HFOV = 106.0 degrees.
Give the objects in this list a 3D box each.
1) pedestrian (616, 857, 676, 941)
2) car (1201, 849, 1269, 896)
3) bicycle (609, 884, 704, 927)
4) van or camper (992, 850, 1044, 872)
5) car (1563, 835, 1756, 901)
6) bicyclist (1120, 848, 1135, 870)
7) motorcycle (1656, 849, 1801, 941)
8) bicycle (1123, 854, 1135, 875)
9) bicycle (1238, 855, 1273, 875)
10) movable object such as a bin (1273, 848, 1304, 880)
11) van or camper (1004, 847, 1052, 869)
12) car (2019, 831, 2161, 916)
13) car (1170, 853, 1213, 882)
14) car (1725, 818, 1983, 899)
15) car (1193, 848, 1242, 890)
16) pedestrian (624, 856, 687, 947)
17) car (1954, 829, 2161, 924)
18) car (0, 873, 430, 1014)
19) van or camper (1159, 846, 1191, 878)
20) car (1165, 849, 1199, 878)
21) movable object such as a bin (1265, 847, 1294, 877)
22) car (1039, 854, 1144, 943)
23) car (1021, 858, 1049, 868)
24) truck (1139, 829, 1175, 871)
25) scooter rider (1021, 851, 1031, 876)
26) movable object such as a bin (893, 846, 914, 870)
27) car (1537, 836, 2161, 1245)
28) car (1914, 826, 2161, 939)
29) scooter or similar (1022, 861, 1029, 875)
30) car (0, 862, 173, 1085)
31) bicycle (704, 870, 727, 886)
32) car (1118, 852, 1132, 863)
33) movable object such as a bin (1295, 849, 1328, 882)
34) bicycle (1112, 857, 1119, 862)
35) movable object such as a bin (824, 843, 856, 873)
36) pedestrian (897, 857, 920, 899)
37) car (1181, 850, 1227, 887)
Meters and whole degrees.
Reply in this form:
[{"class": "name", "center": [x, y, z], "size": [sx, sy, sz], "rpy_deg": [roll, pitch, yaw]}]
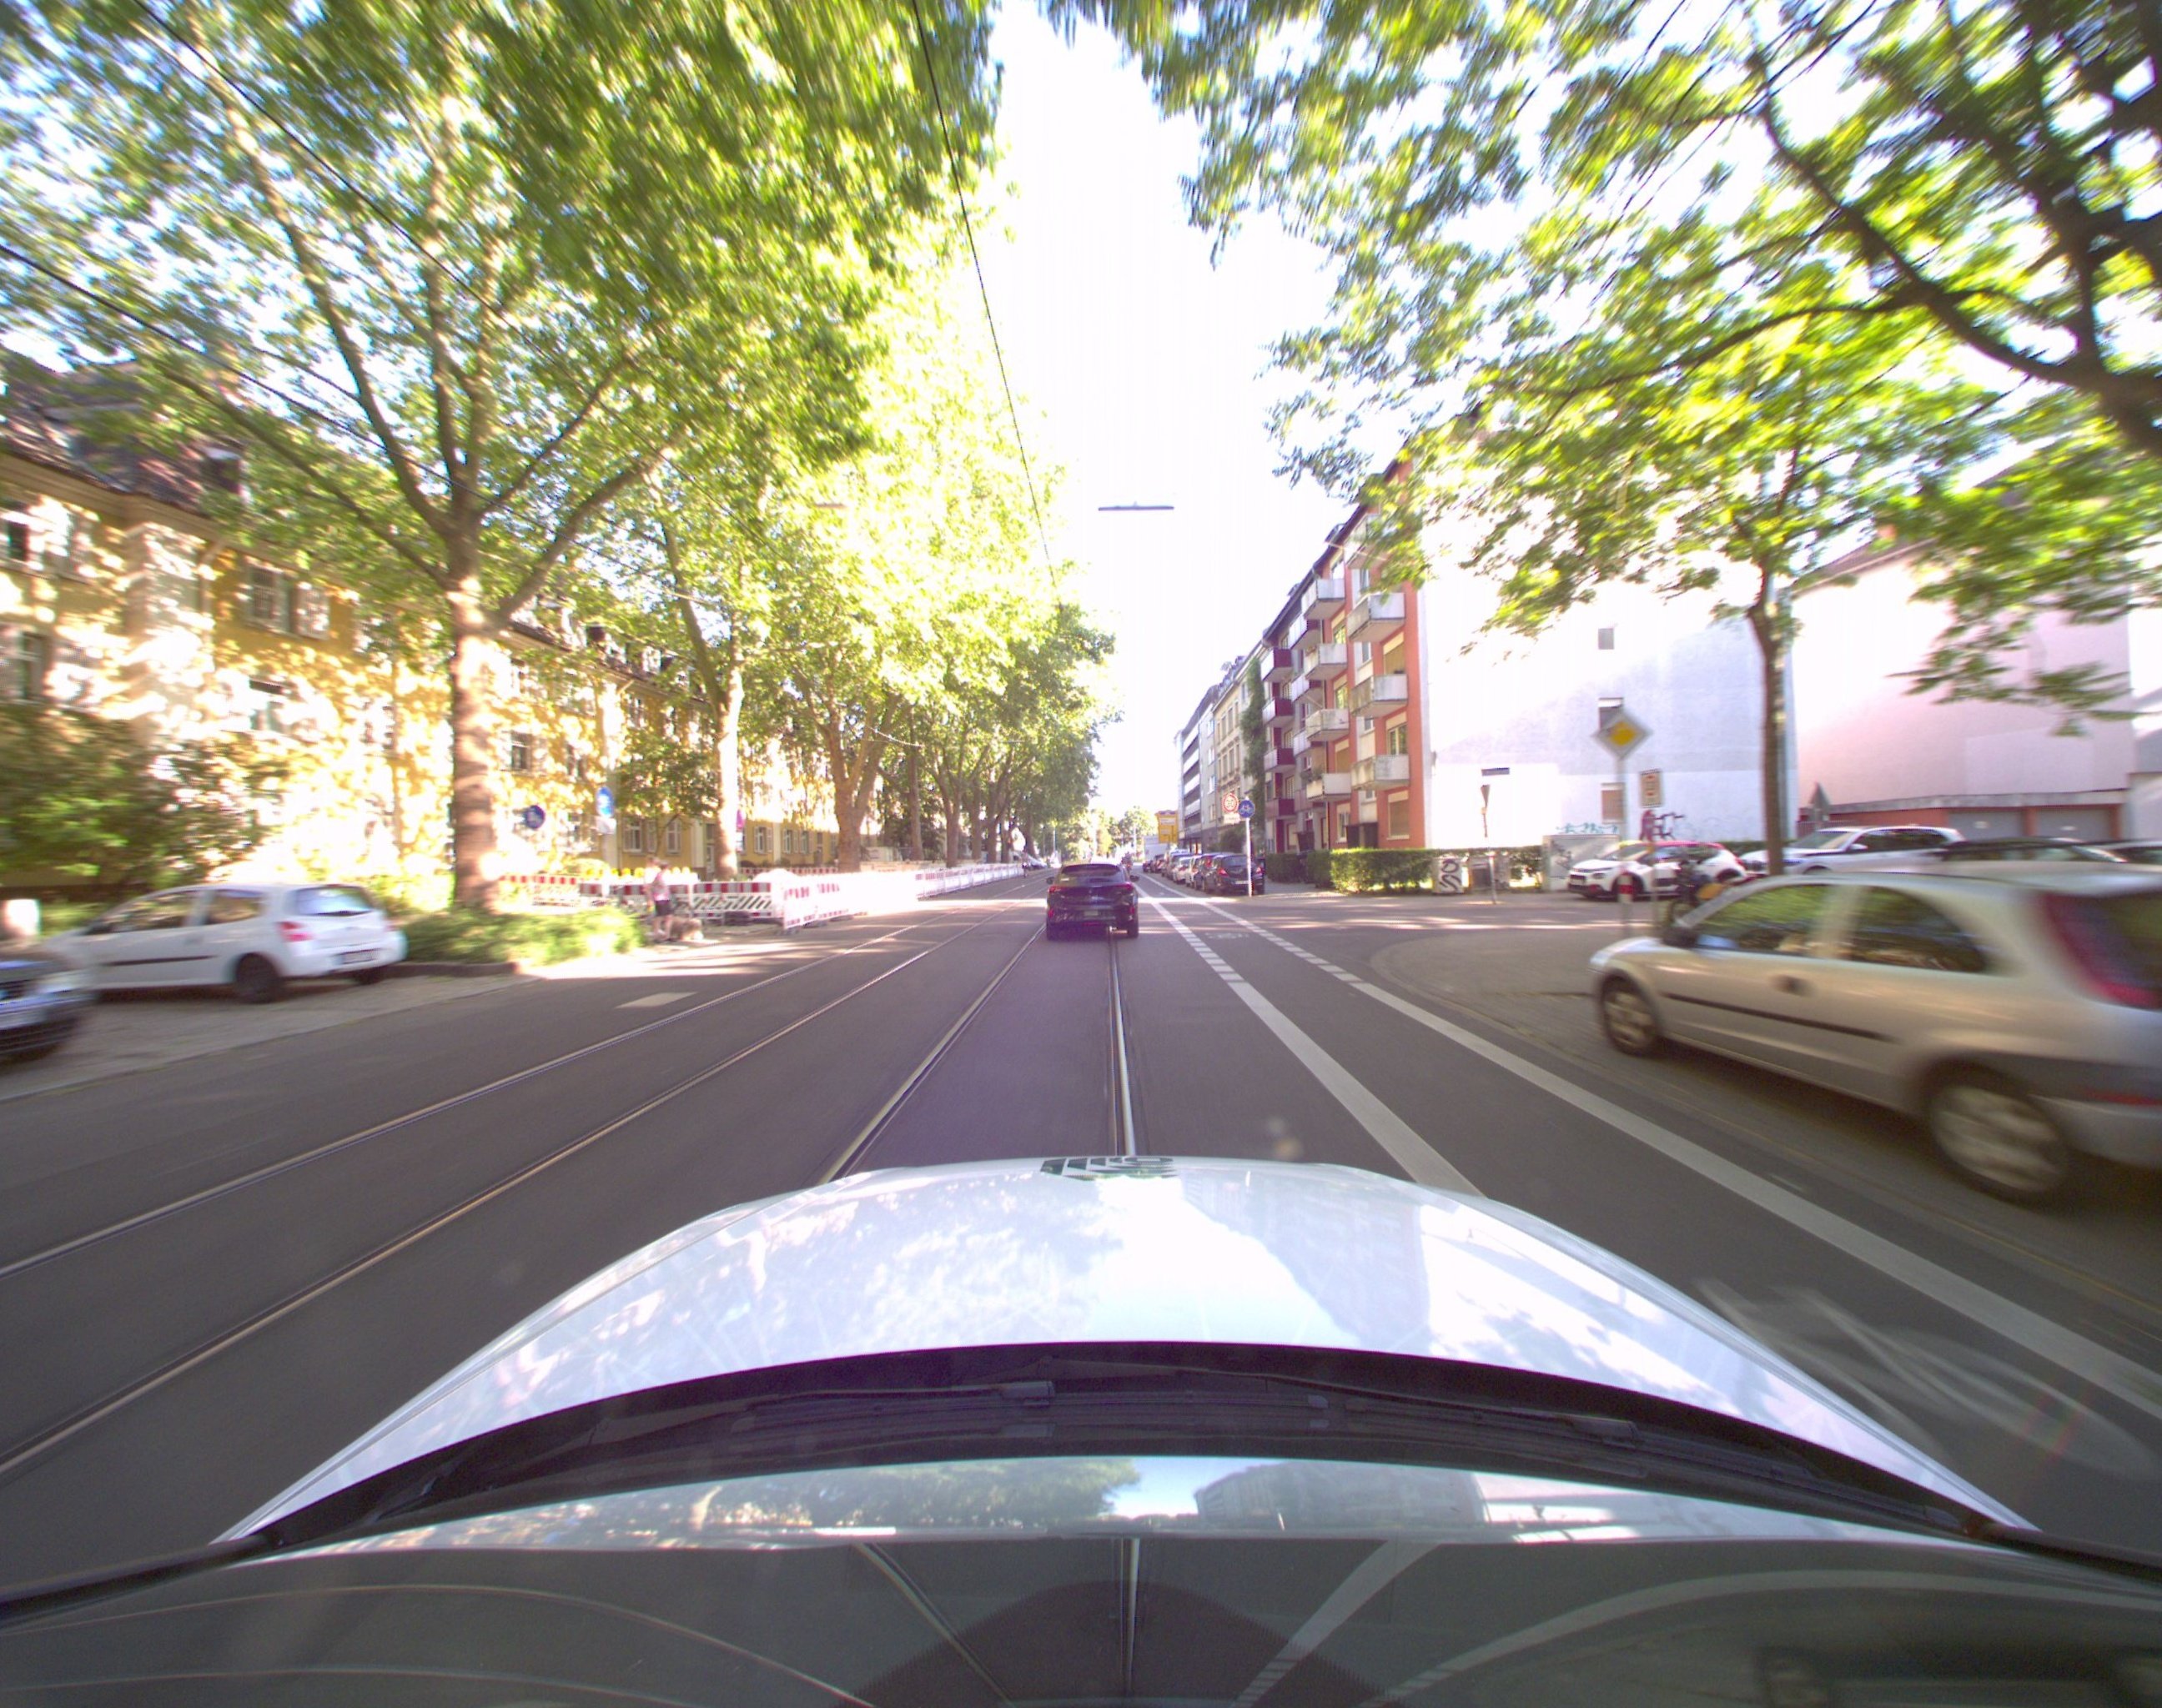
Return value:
[{"class": "pedestrian", "center": [-9.319, 0.945, 17.473], "size": [0.819, 1.745, 0.797], "rpy_deg": [-1, -1, 1]}, {"class": "car", "center": [5.519, 0.627, 29.530], "size": [1.727, 1.462, 3.917], "rpy_deg": [-4, 0, 1]}, {"class": "bicycle", "center": [-10.541, 1.272, 20.253], "size": [1.964, 0.962, 0.726], "rpy_deg": [-2, 0, 2]}, {"class": "van or camper", "center": [-7.122, 0.790, 92.220], "size": [5.475, 2.379, 2.272], "rpy_deg": [-1, -1, 5]}, {"class": "car", "center": [14.767, 0.326, 20.921], "size": [3.900, 1.482, 1.562], "rpy_deg": [-2, 3, 0]}, {"class": "bicyclist", "center": [3.652, 0.367, 63.695], "size": [1.084, 1.647, 1.402], "rpy_deg": [-1, 0, 3]}, {"class": "motorcycle", "center": [10.011, 0.587, 12.717], "size": [0.674, 1.298, 2.262], "rpy_deg": [-2, -1, 8]}, {"class": "bicycle", "center": [3.752, 0.789, 63.855], "size": [0.912, 1.561, 3.408], "rpy_deg": [-1, 0, 3]}, {"class": "bicycle", "center": [10.148, 0.625, 47.452], "size": [1.884, 1.029, 0.477], "rpy_deg": [-4, 0, 6]}, {"class": "movable object such as a bin", "center": [8.930, 0.431, 35.156], "size": [0.963, 1.327, 1.722], "rpy_deg": [-1, -1, 2]}, {"class": "van or camper", "center": [-6.620, 0.527, 101.478], "size": [5.702, 2.644, 2.270], "rpy_deg": [-1, -1, 2]}, {"class": "car", "center": [19.613, 0.319, 14.265], "size": [1.671, 1.461, 3.908], "rpy_deg": [-1, 0, -30]}, {"class": "car", "center": [5.875, 0.682, 43.760], "size": [1.653, 1.399, 4.741], "rpy_deg": [-4, 0, 1]}, {"class": "car", "center": [19.570, 0.069, 20.788], "size": [4.705, 1.792, 2.006], "rpy_deg": [-2, 3, 0]}, {"class": "car", "center": [5.562, 0.599, 33.606], "size": [1.520, 1.590, 3.754], "rpy_deg": [-1, 0, 2]}, {"class": "pedestrian", "center": [-8.450, 0.926, 16.200], "size": [0.819, 1.745, 0.797], "rpy_deg": [-1, -1, 1]}, {"class": "car", "center": [17.298, 0.338, 13.254], "size": [1.732, 1.461, 3.908], "rpy_deg": [-1, 0, -30]}, {"class": "car", "center": [-11.170, 1.098, 10.608], "size": [3.833, 1.498, 1.863], "rpy_deg": [-2, 0, 1]}, {"class": "van or camper", "center": [6.142, 0.501, 53.622], "size": [1.662, 1.883, 4.213], "rpy_deg": [-3, 0, 2]}, {"class": "car", "center": [5.975, 0.563, 48.653], "size": [1.653, 1.580, 3.591], "rpy_deg": [-3, 0, 2]}, {"class": "movable object such as a bin", "center": [8.980, 0.375, 36.924], "size": [0.920, 1.327, 1.682], "rpy_deg": [-1, -1, 2]}, {"class": "car", "center": [0.231, 0.767, 16.023], "size": [1.775, 1.496, 4.001], "rpy_deg": [-1, 0, 1]}, {"class": "car", "center": [-6.818, 1.357, 121.502], "size": [3.971, 1.515, 1.651], "rpy_deg": [-1, -1, 2]}, {"class": "truck", "center": [6.523, -0.320, 70.836], "size": [2.528, 3.338, 7.199], "rpy_deg": [-4, 0, 2]}, {"class": "scooter rider", "center": [-4.241, 0.741, 62.622], "size": [0.647, 1.957, 0.624], "rpy_deg": [-1, -1, 2]}, {"class": "movable object such as a bin", "center": [-12.432, 0.286, 57.192], "size": [1.093, 1.645, 1.560], "rpy_deg": [-1, -1, 2]}, {"class": "car", "center": [4.754, 0.671, 5.008], "size": [1.699, 1.473, 4.001], "rpy_deg": [-2, 0, 1]}, {"class": "car", "center": [15.327, 0.376, 11.983], "size": [1.732, 1.540, 3.962], "rpy_deg": [-1, 0, -30]}, {"class": "scooter or similar", "center": [-4.245, 1.063, 62.686], "size": [0.406, 1.083, 1.339], "rpy_deg": [-1, -1, 2]}, {"class": "car", "center": [-10.369, 1.004, 6.606], "size": [4.210, 1.688, 1.938], "rpy_deg": [-2, 0, 8]}, {"class": "bicycle", "center": [-19.115, 1.246, 42.627], "size": [0.505, 0.818, 1.642], "rpy_deg": [-2, 0, -2]}, {"class": "car", "center": [6.929, 0.522, 128.364], "size": [1.986, 1.695, 4.741], "rpy_deg": [-4, 0, 1]}, {"class": "movable object such as a bin", "center": [9.523, 0.460, 33.698], "size": [1.148, 1.327, 0.775], "rpy_deg": [-1, -1, 2]}, {"class": "bicycle", "center": [6.882, 1.178, 161.405], "size": [0.782, 0.992, 2.254], "rpy_deg": [-1, 0, 18]}, {"class": "movable object such as a bin", "center": [-15.425, 0.284, 52.196], "size": [1.328, 1.868, 2.008], "rpy_deg": [-1, -1, 2]}, {"class": "pedestrian", "center": [-6.844, 0.946, 32.300], "size": [0.714, 1.669, 0.779], "rpy_deg": [-1, -1, 2]}, {"class": "car", "center": [5.659, 0.640, 37.810], "size": [1.585, 1.526, 3.837], "rpy_deg": [-4, -1, 2]}]
